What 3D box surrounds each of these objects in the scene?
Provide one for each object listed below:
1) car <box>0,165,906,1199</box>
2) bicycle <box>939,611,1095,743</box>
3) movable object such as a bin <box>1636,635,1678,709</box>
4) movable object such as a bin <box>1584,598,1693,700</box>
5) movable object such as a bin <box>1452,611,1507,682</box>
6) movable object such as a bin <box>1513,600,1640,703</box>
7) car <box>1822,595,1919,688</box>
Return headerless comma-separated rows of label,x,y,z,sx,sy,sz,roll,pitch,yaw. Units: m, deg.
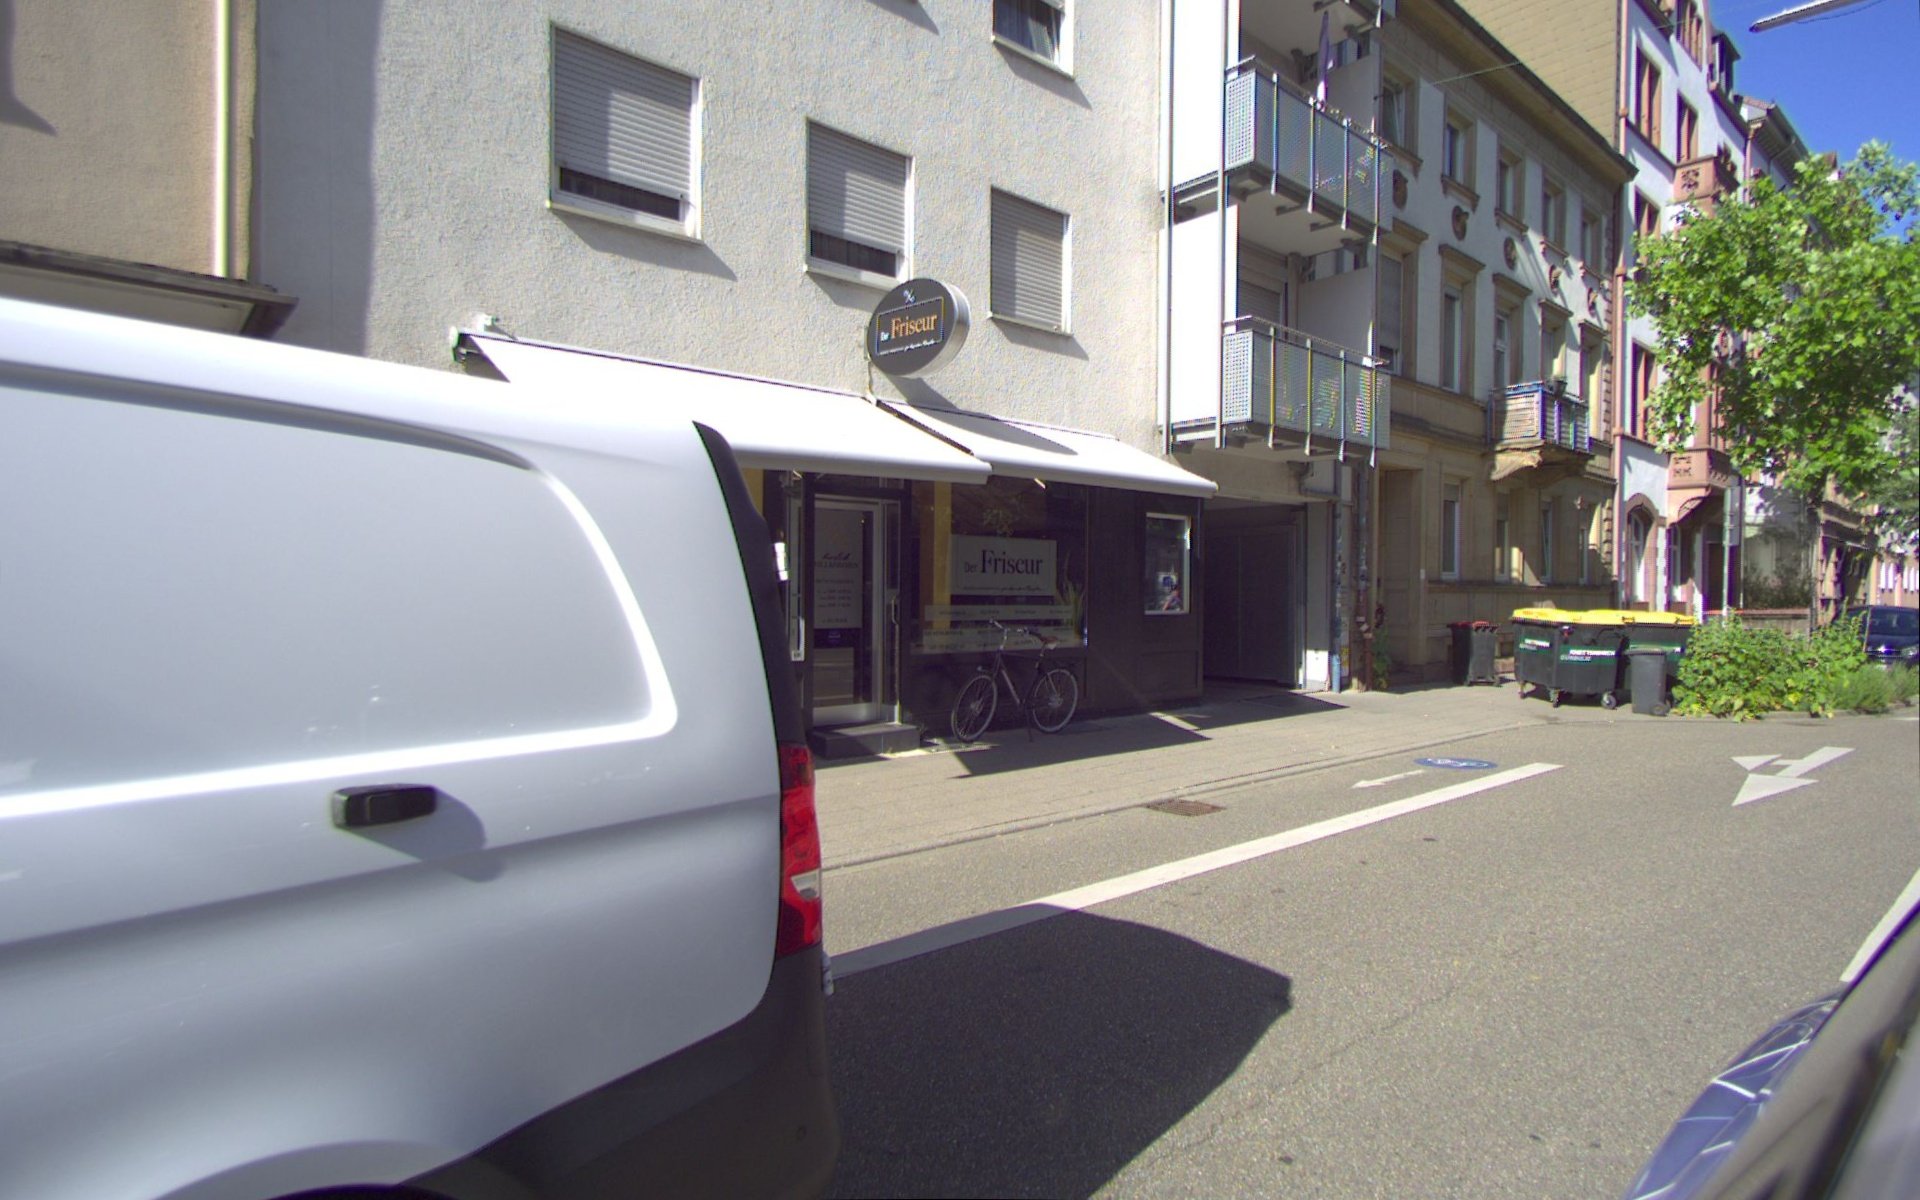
car,-2.521,0.492,0.871,4.911,1.892,1.839,0,1,-43
bicycle,0.601,0.725,10.107,1.760,1.193,0.402,0,0,-41
movable object such as a bin,9.569,0.979,13.891,0.399,0.933,0.478,3,3,41
movable object such as a bin,9.956,0.693,14.905,0.943,1.365,1.066,1,3,11
movable object such as a bin,8.530,0.747,16.628,0.557,1.094,0.617,1,3,1
movable object such as a bin,8.840,0.707,14.582,1.030,1.341,1.216,1,3,1
car,16.834,0.682,18.219,3.293,1.510,1.550,0,1,-41
